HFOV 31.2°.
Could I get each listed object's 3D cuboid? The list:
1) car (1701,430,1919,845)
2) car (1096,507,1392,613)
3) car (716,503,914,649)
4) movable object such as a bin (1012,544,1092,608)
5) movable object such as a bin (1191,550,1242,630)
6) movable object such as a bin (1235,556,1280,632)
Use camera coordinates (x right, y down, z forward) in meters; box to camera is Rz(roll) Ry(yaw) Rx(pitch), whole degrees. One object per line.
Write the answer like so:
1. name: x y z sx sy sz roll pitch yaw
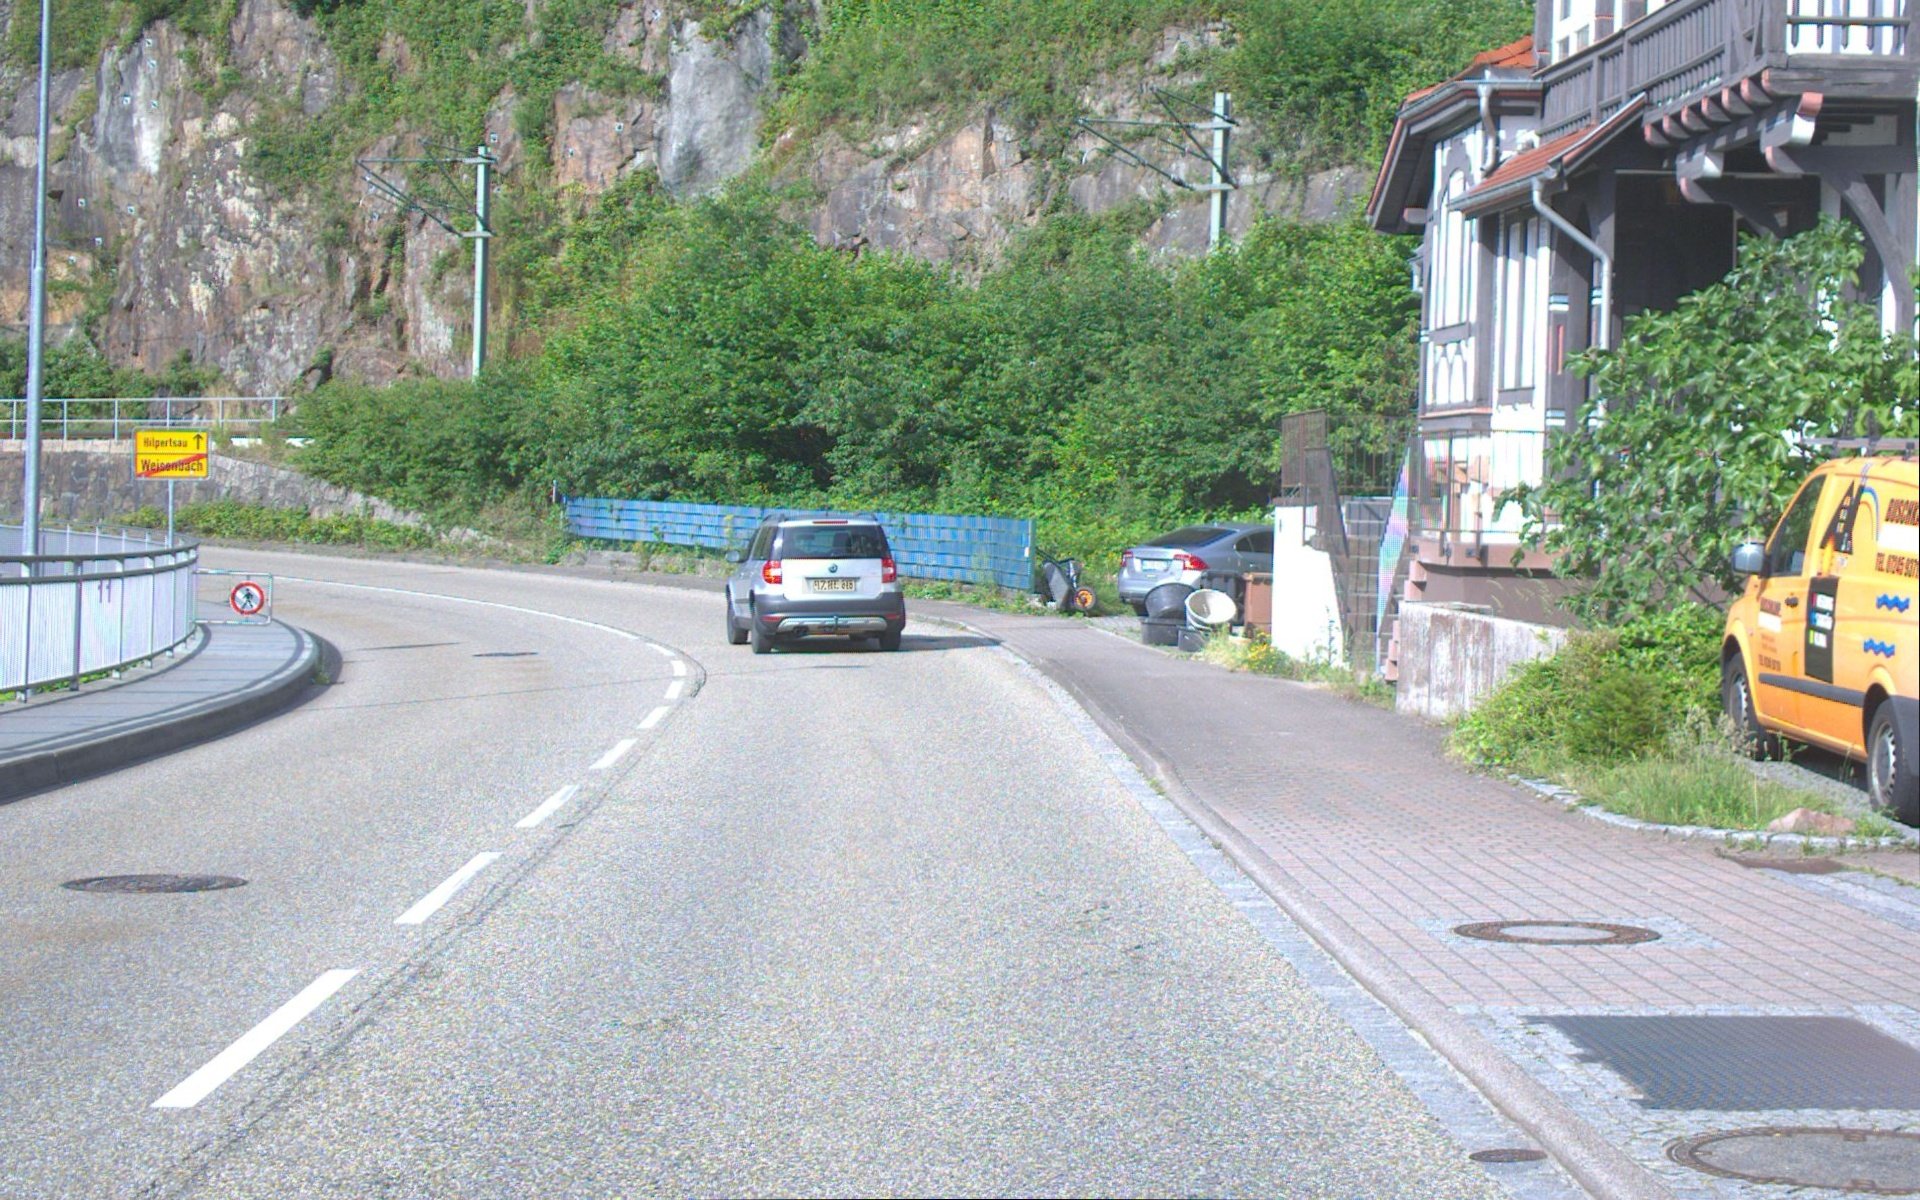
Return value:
1. car: 5.542 0.127 18.679 1.908 1.990 4.835 0 2 -1
2. car: 4.163 -0.578 49.929 4.317 1.464 1.837 0 1 -43
3. car: -1.815 -0.332 41.766 1.872 1.650 4.001 -1 2 -10
4. movable object such as a bin: 1.346 -0.369 50.920 0.855 0.844 2.539 3 2 -5
5. movable object such as a bin: 3.126 -0.121 41.944 0.471 0.933 0.653 2 2 -5
6. movable object such as a bin: 3.626 -0.076 41.868 0.367 0.897 0.547 2 2 -12
